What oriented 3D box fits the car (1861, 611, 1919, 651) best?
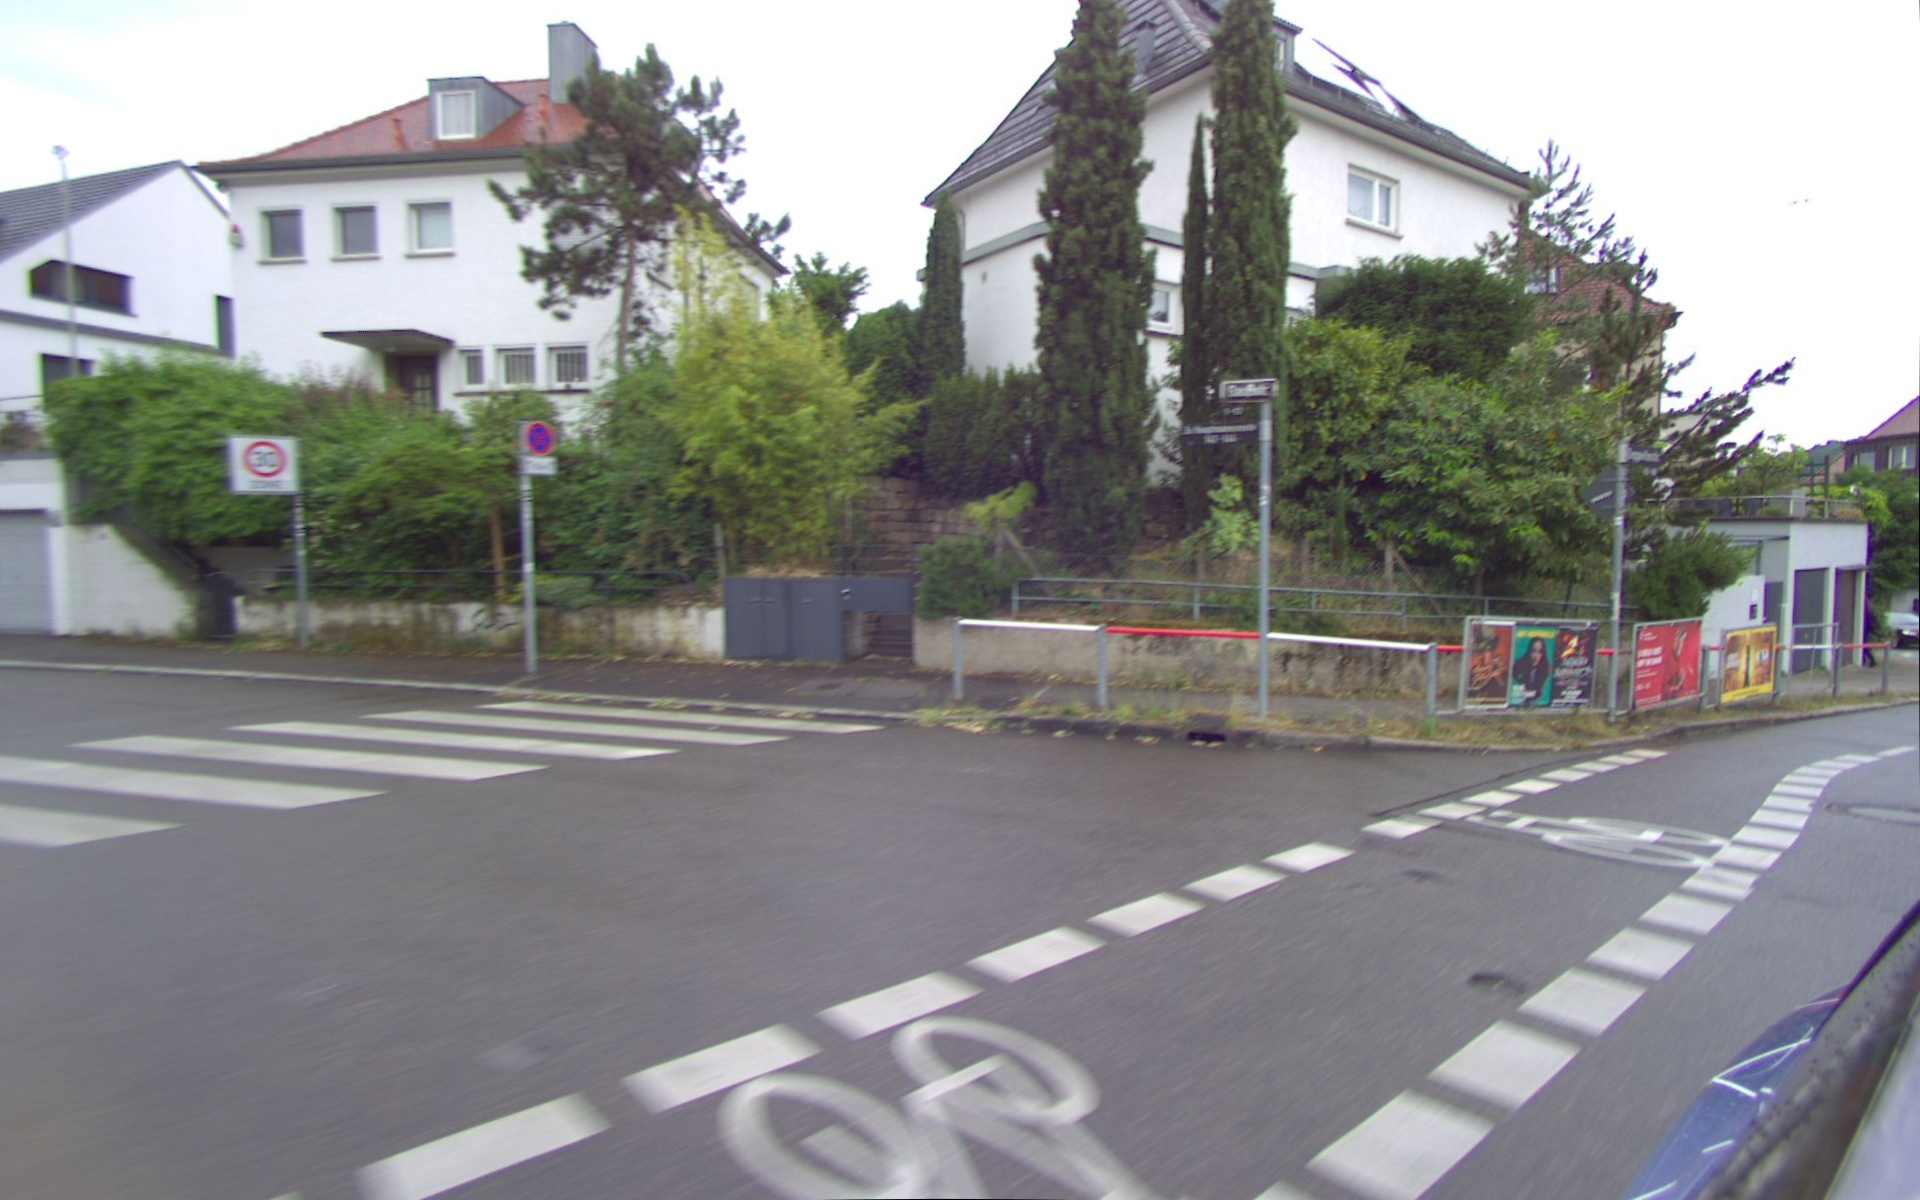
[{"bbox_3d":[37.444,1.189,39.579,1.939,1.505,4.174,1,0,21],"label":"car"}]
